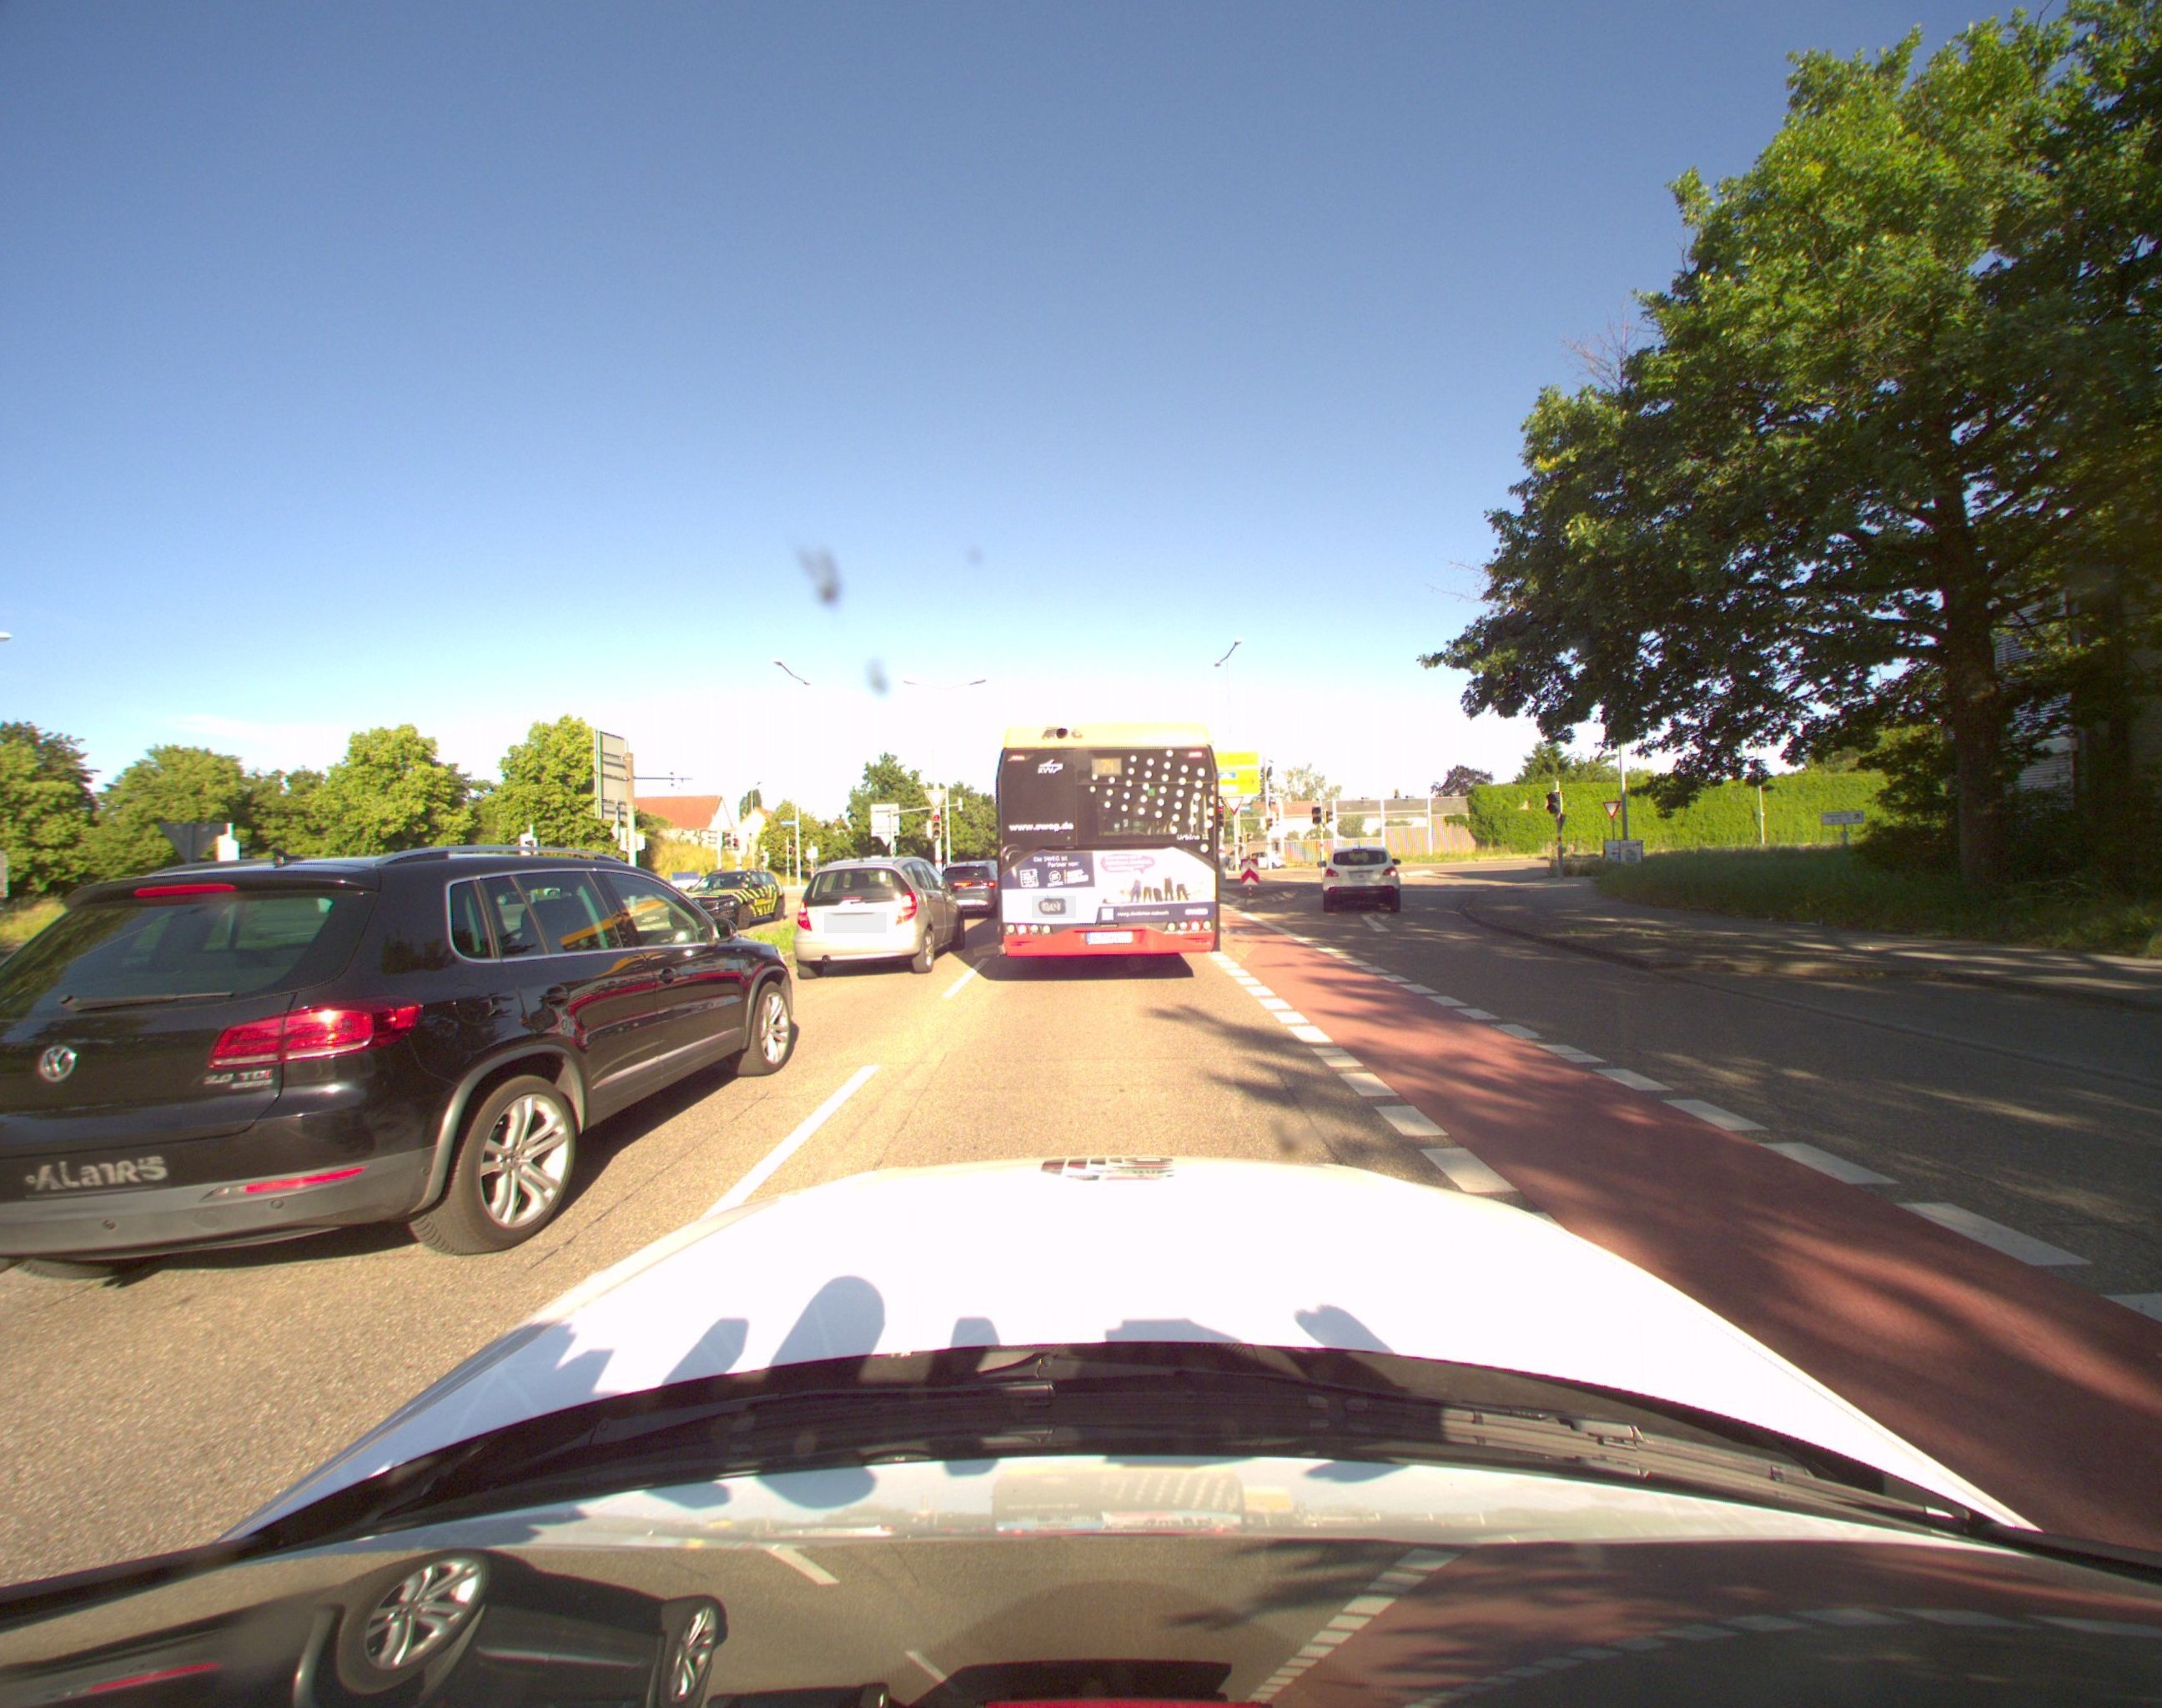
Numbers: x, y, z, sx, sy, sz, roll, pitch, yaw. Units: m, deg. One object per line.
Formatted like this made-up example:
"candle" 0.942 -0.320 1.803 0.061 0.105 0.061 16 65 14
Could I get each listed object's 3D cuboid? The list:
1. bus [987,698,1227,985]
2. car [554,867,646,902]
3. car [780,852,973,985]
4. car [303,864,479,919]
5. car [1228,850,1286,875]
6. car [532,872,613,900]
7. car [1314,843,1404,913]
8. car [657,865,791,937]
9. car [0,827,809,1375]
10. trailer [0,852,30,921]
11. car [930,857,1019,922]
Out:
"bus" 0.530 -0.167 15.022 2.632 3.167 11.867 -1 0 2
"car" -24.564 1.538 41.677 3.577 1.560 1.747 -2 0 -5
"car" -2.868 0.822 12.384 1.755 1.589 4.001 -3 0 1
"car" -28.941 1.547 34.313 5.375 2.118 2.178 -1 -1 -4
"car" 13.183 0.675 60.992 3.951 1.816 1.934 -1 -1 23
"car" -31.020 1.937 49.796 3.800 1.612 1.704 0 -1 -5
"car" 6.933 0.549 20.678 1.706 1.607 4.082 -1 0 12
"car" -9.416 1.176 21.877 1.758 1.526 4.079 -3 1 -1
"car" -3.164 0.797 4.558 1.766 1.653 4.001 -3 0 1
"trailer" -70.804 2.089 46.917 14.632 4.013 3.435 -1 0 -5
"car" -2.682 0.855 21.318 1.686 1.458 3.751 -3 0 1
